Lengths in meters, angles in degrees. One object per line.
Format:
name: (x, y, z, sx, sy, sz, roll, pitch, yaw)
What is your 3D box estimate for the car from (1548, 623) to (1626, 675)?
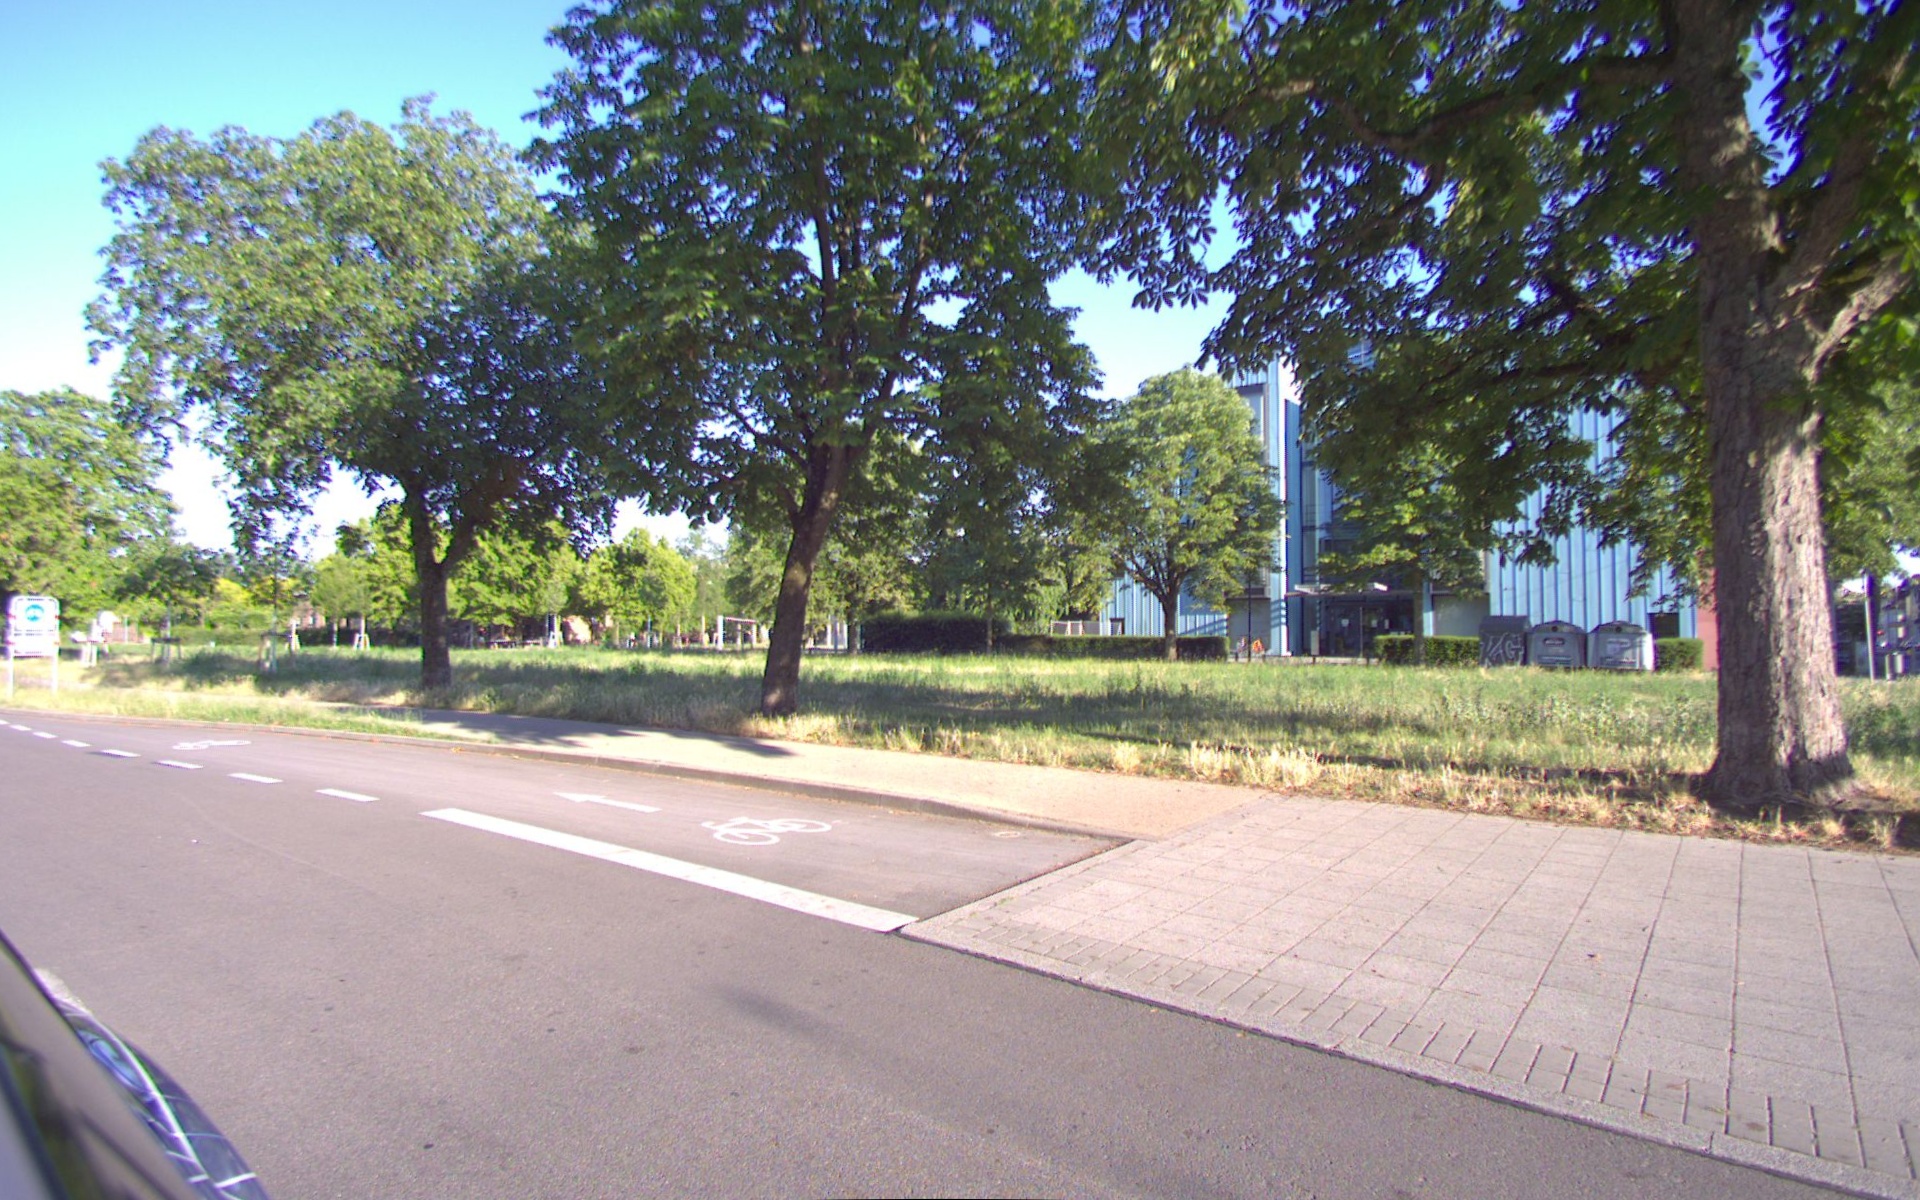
car: (21.846, 1.672, 35.181, 1.963, 1.684, 5.160, -2, -3, 35)

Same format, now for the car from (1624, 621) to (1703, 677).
car: (23.581, 1.680, 33.834, 1.996, 1.684, 5.158, -1, -4, 37)
